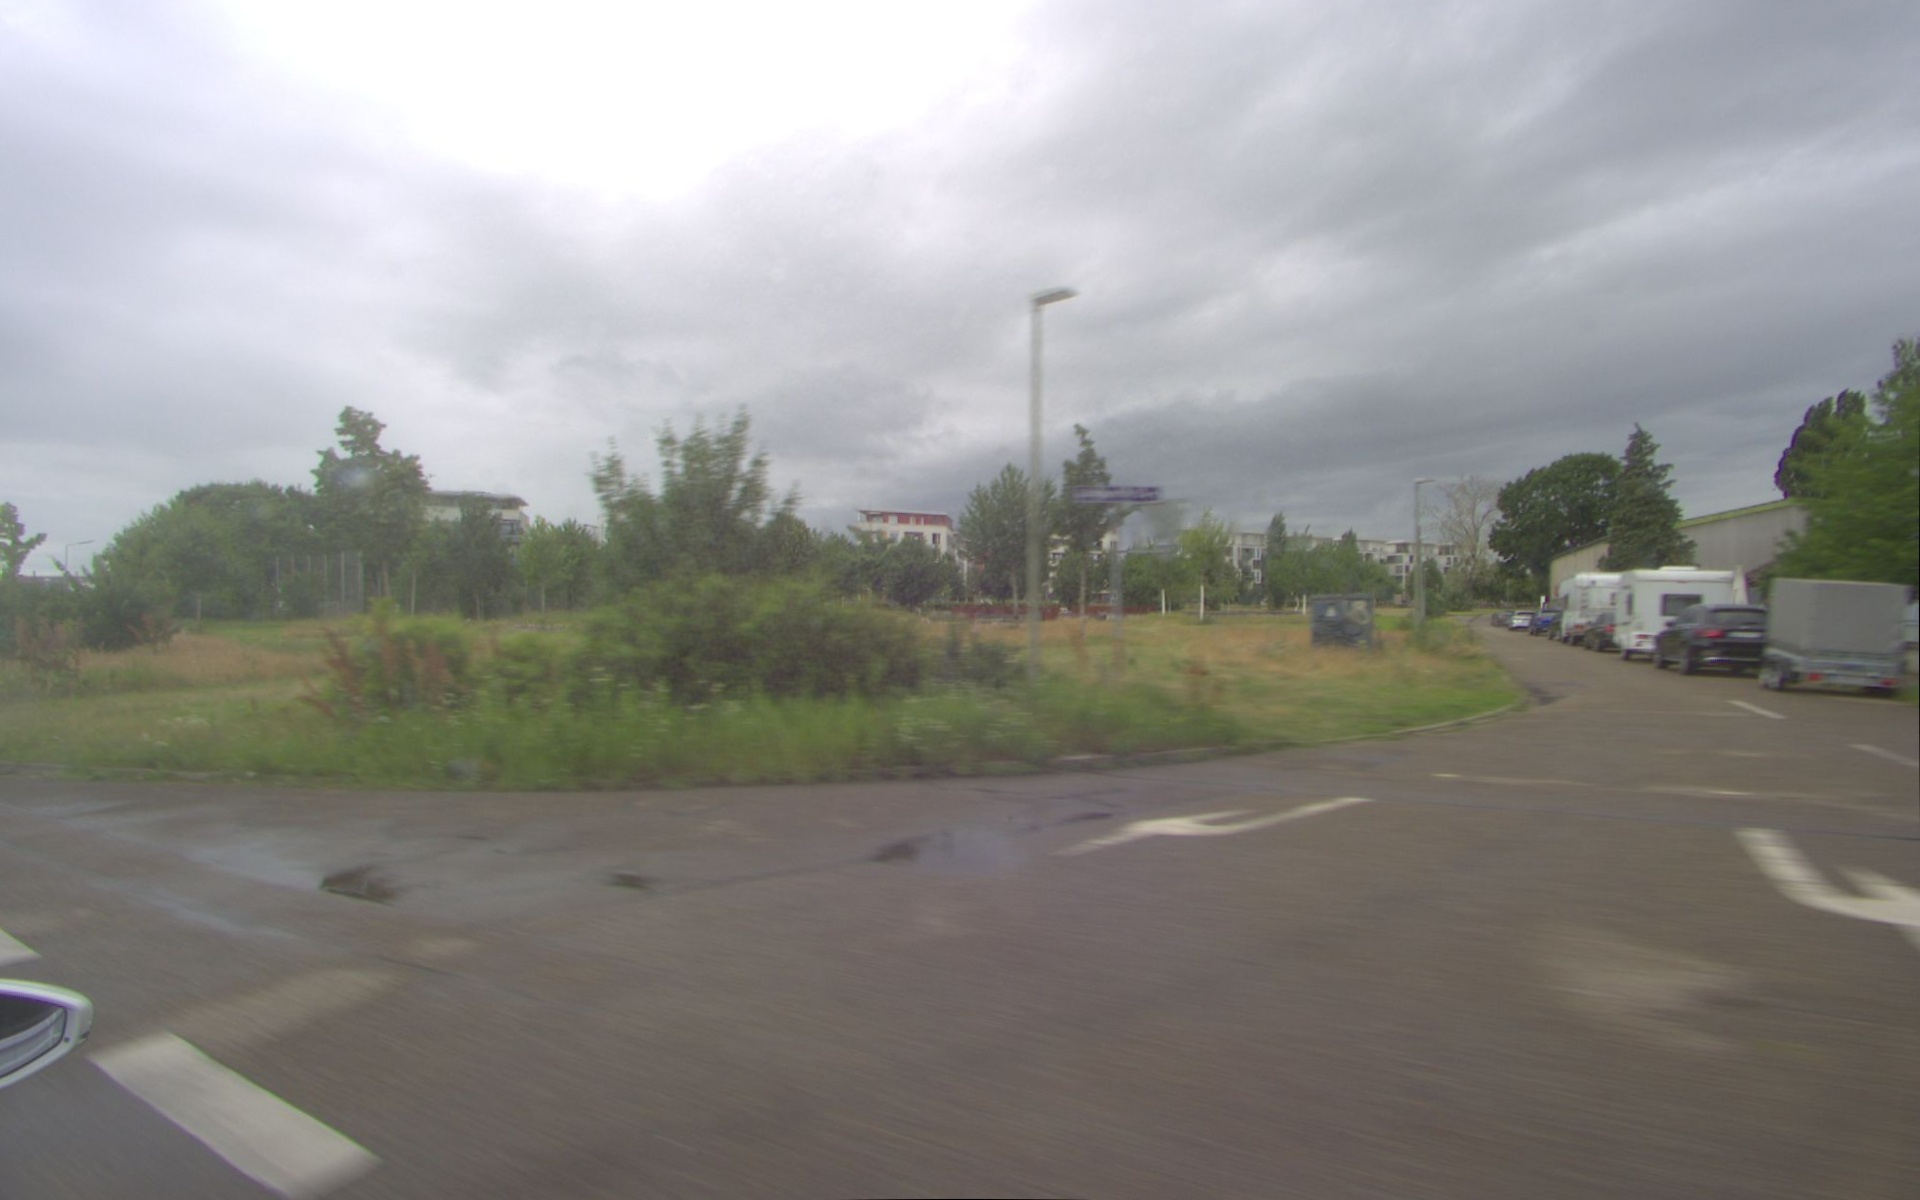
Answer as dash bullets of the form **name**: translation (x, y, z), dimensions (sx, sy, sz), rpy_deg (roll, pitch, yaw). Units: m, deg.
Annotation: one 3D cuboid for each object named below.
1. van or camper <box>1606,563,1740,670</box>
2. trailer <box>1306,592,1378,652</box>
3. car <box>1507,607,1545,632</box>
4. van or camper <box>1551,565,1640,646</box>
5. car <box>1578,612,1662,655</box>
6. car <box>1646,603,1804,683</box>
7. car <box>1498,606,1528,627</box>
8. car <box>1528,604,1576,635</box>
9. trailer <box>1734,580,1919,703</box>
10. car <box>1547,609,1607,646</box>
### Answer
- **van or camper**: translation (20.928, 0.426, 29.664), dimensions (2.377, 2.870, 5.160), rpy_deg (1, 1, 26)
- **trailer**: translation (10.855, 0.568, 28.342), dimensions (1.729, 1.553, 4.108), rpy_deg (1, 0, 23)
- **car**: translation (39.737, 1.349, 70.395), dimensions (1.967, 1.595, 4.576), rpy_deg (4, 1, 26)
- **van or camper**: translation (26.871, 0.210, 42.564), dimensions (2.233, 3.153, 6.056), rpy_deg (1, 1, 24)
- **car**: translation (23.725, 1.165, 36.158), dimensions (1.881, 1.403, 4.277), rpy_deg (0, 0, 25)
- **car**: translation (17.961, 0.922, 23.757), dimensions (1.967, 1.662, 4.579), rpy_deg (1, 0, 25)
- **car**: translation (47.830, 1.404, 86.690), dimensions (1.967, 1.595, 4.512), rpy_deg (4, 1, 26)
- **car**: translation (34.491, 1.115, 58.423), dimensions (1.967, 1.595, 4.269), rpy_deg (4, 1, 26)
- **trailer**: translation (16.215, 0.691, 18.903), dimensions (1.616, 2.040, 3.986), rpy_deg (1, 1, 25)
- **car**: translation (29.691, 1.285, 48.287), dimensions (1.967, 1.595, 3.920), rpy_deg (4, 2, 26)
